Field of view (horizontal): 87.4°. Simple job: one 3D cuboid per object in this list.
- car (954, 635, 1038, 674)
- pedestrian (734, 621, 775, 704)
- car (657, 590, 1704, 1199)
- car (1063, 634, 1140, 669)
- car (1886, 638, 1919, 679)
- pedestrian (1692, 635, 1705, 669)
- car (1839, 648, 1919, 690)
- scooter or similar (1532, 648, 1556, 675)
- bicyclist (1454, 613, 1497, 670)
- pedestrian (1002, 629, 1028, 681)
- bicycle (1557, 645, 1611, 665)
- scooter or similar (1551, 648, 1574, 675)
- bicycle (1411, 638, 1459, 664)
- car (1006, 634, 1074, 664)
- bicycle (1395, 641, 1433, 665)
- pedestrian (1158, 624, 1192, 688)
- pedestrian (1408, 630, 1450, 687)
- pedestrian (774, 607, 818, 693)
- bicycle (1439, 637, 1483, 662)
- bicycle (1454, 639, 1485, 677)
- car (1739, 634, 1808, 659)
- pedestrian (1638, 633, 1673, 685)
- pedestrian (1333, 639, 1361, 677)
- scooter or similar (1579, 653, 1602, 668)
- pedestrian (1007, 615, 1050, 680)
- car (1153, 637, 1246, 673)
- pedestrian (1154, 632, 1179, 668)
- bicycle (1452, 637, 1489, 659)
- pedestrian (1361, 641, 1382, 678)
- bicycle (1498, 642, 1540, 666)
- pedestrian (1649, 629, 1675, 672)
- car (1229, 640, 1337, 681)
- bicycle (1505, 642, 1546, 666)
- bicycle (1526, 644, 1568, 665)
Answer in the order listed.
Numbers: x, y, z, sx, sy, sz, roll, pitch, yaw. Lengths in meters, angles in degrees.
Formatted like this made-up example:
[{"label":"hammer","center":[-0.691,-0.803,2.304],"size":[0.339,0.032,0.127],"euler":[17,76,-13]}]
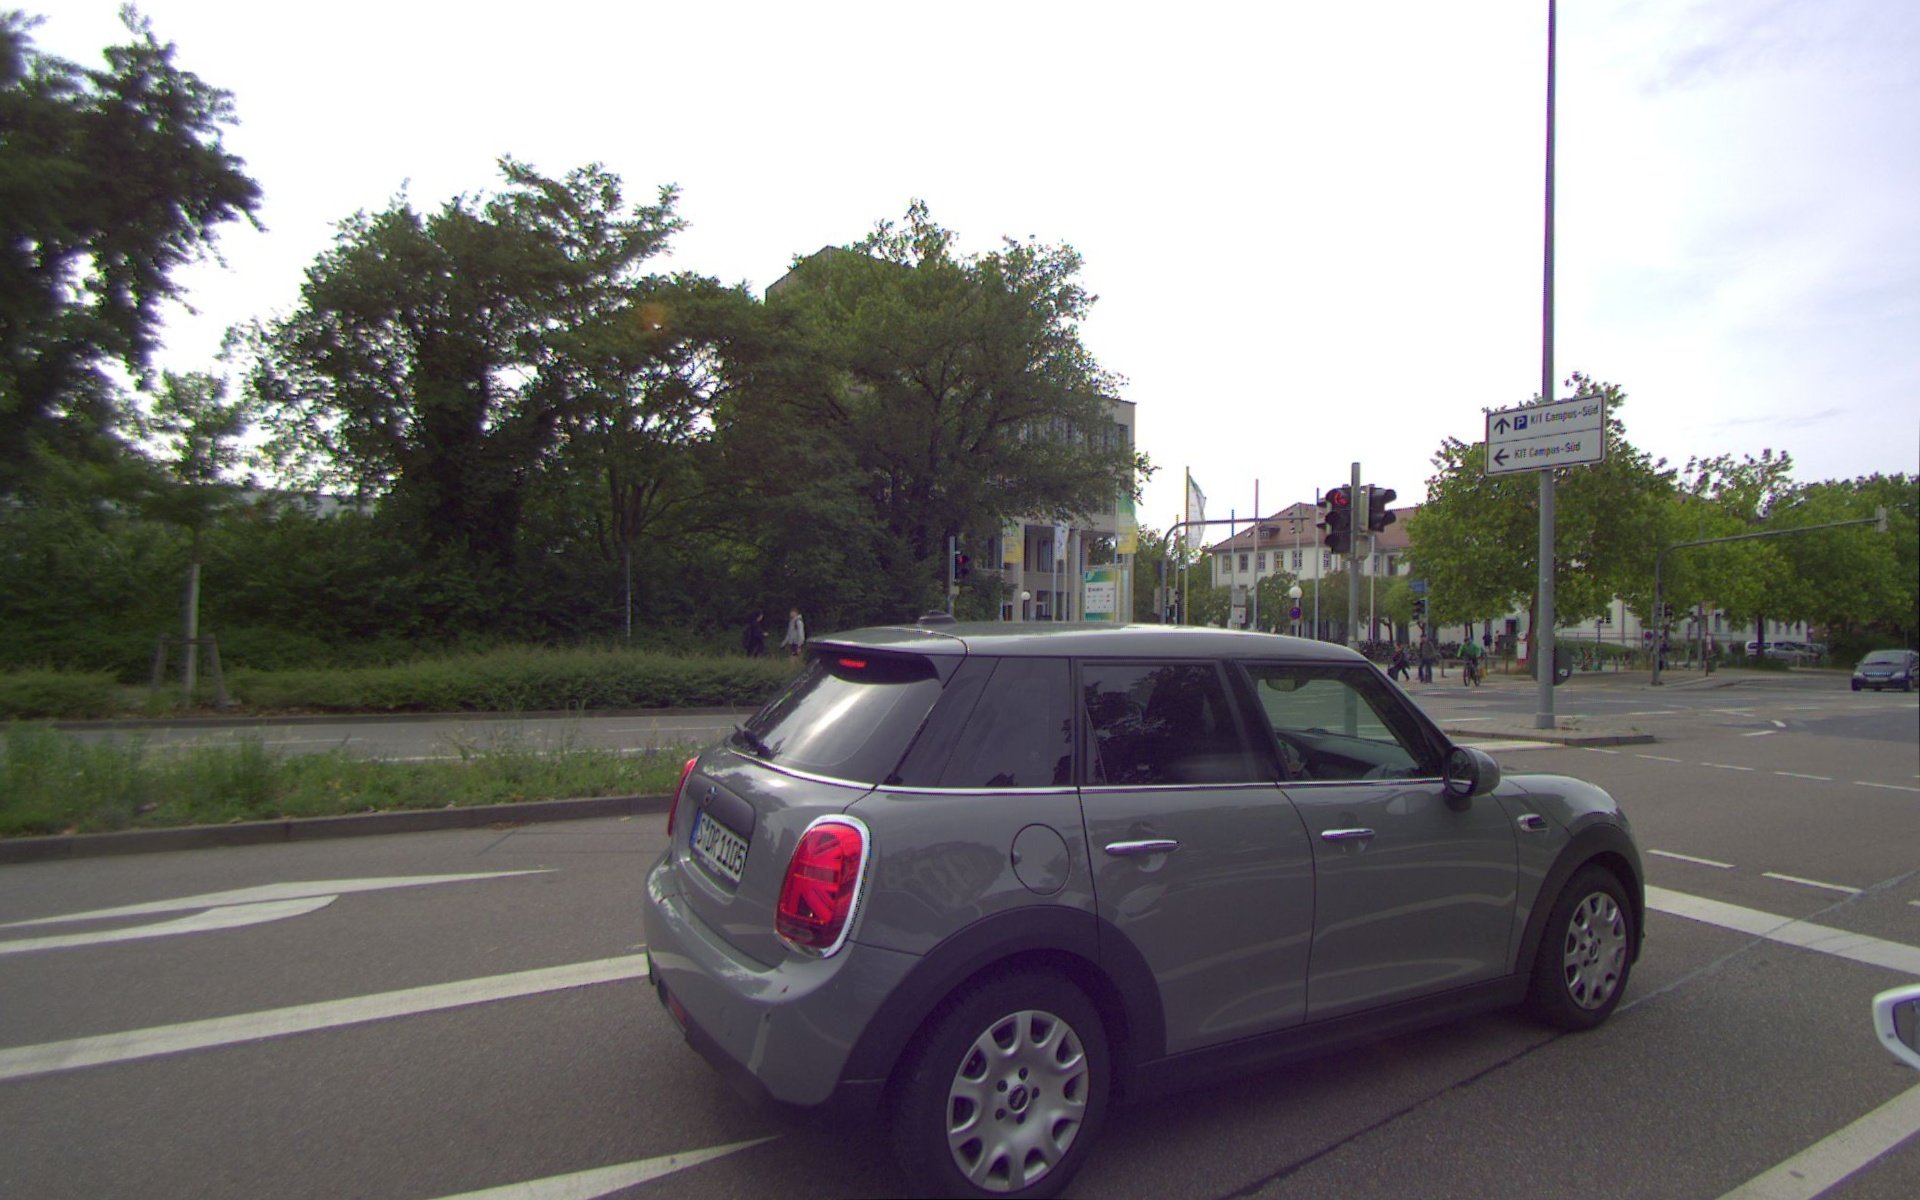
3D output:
[{"label":"car","center":[1.493,2.292,42.619],"size":[1.844,1.469,3.562],"euler":[2,-1,-34]},{"label":"pedestrian","center":[-4.391,1.325,21.449],"size":[0.645,1.717,0.586],"euler":[2,0,-31]},{"label":"car","center":[0.937,0.720,3.708],"size":[3.662,1.335,1.613],"euler":[2,-2,-30]},{"label":"car","center":[7.563,2.745,53.972],"size":[1.980,1.601,3.961],"euler":[2,0,-34]},{"label":"car","center":[40.873,2.442,41.963],"size":[3.949,1.641,1.986],"euler":[2,-2,-28]},{"label":"pedestrian","center":[38.764,2.732,52.715],"size":[0.430,1.762,0.415],"euler":[2,0,-40]},{"label":"car","center":[35.489,2.602,38.374],"size":[3.654,1.483,1.844],"euler":[2,-2,-30]},{"label":"scooter or similar","center":[25.403,2.673,43.676],"size":[1.306,1.155,0.358],"euler":[2,-2,-34]},{"label":"bicyclist","center":[18.968,1.513,36.960],"size":[1.165,2.040,1.277],"euler":[2,0,37]},{"label":"pedestrian","center":[1.746,1.732,31.860],"size":[0.598,1.628,0.497],"euler":[2,-1,-42]},{"label":"bicycle","center":[37.728,3.316,60.799],"size":[0.715,1.190,2.726],"euler":[2,-2,-37]},{"label":"scooter or similar","center":[26.741,2.722,44.560],"size":[1.306,1.155,0.358],"euler":[2,-2,-34]},{"label":"bicycle","center":[30.330,3.255,64.138],"size":[0.916,1.579,2.633],"euler":[2,-2,-43]},{"label":"car","center":[4.592,2.817,58.194],"size":[1.835,1.706,3.961],"euler":[2,-2,-35]},{"label":"bicycle","center":[31.703,3.706,70.165],"size":[0.907,1.579,2.658],"euler":[1,-2,-16]},{"label":"pedestrian","center":[7.175,1.847,33.586],"size":[0.844,2.086,0.662],"euler":[-1,-1,-34]},{"label":"pedestrian","center":[17.446,2.161,37.360],"size":[1.165,2.040,1.138],"euler":[2,0,37]},{"label":"pedestrian","center":[-4.002,1.207,24.442],"size":[0.811,2.040,0.904],"euler":[1,-1,-26]},{"label":"bicycle","center":[32.692,3.209,65.563],"size":[0.916,1.579,2.421],"euler":[2,-2,-43]},{"label":"bicycle","center":[18.872,2.126,37.183],"size":[0.597,1.351,2.303],"euler":[2,0,37]},{"label":"car","center":[58.685,3.358,72.526],"size":[1.636,1.623,3.561],"euler":[2,0,-35]},{"label":"pedestrian","center":[27.836,2.365,40.211],"size":[1.000,2.040,0.888],"euler":[2,-2,-36]},{"label":"pedestrian","center":[16.253,2.433,42.180],"size":[0.812,1.533,0.971],"euler":[2,0,37]},{"label":"scooter or similar","center":[30.862,2.936,49.161],"size":[1.274,0.703,0.404],"euler":[2,0,-31]},{"label":"pedestrian","center":[2.256,1.546,33.041],"size":[1.022,2.040,1.099],"euler":[2,0,25]},{"label":"car","center":[11.438,2.594,48.167],"size":[1.982,1.491,3.958],"euler":[2,0,-37]},{"label":"pedestrian","center":[11.856,2.866,57.763],"size":[1.007,2.040,0.996],"euler":[2,-2,-34]},{"label":"bicycle","center":[38.771,3.618,76.298],"size":[0.907,1.579,2.658],"euler":[1,-2,-16]},{"label":"pedestrian","center":[16.962,2.452,41.386],"size":[0.687,1.447,0.999],"euler":[2,0,28]},{"label":"bicycle","center":[38.149,3.678,68.575],"size":[0.715,1.615,2.382],"euler":[2,-2,-37]},{"label":"pedestrian","center":[34.416,2.458,49.259],"size":[0.919,2.040,0.795],"euler":[2,0,-40]},{"label":"car","center":[14.182,2.622,44.262],"size":[1.982,1.491,4.111],"euler":[2,0,-37]},{"label":"bicycle","center":[39.017,3.711,69.351],"size":[0.715,1.615,2.382],"euler":[2,-2,-37]},{"label":"bicycle","center":[33.660,3.133,57.634],"size":[2.005,1.168,0.718],"euler":[-1,-2,39]}]
